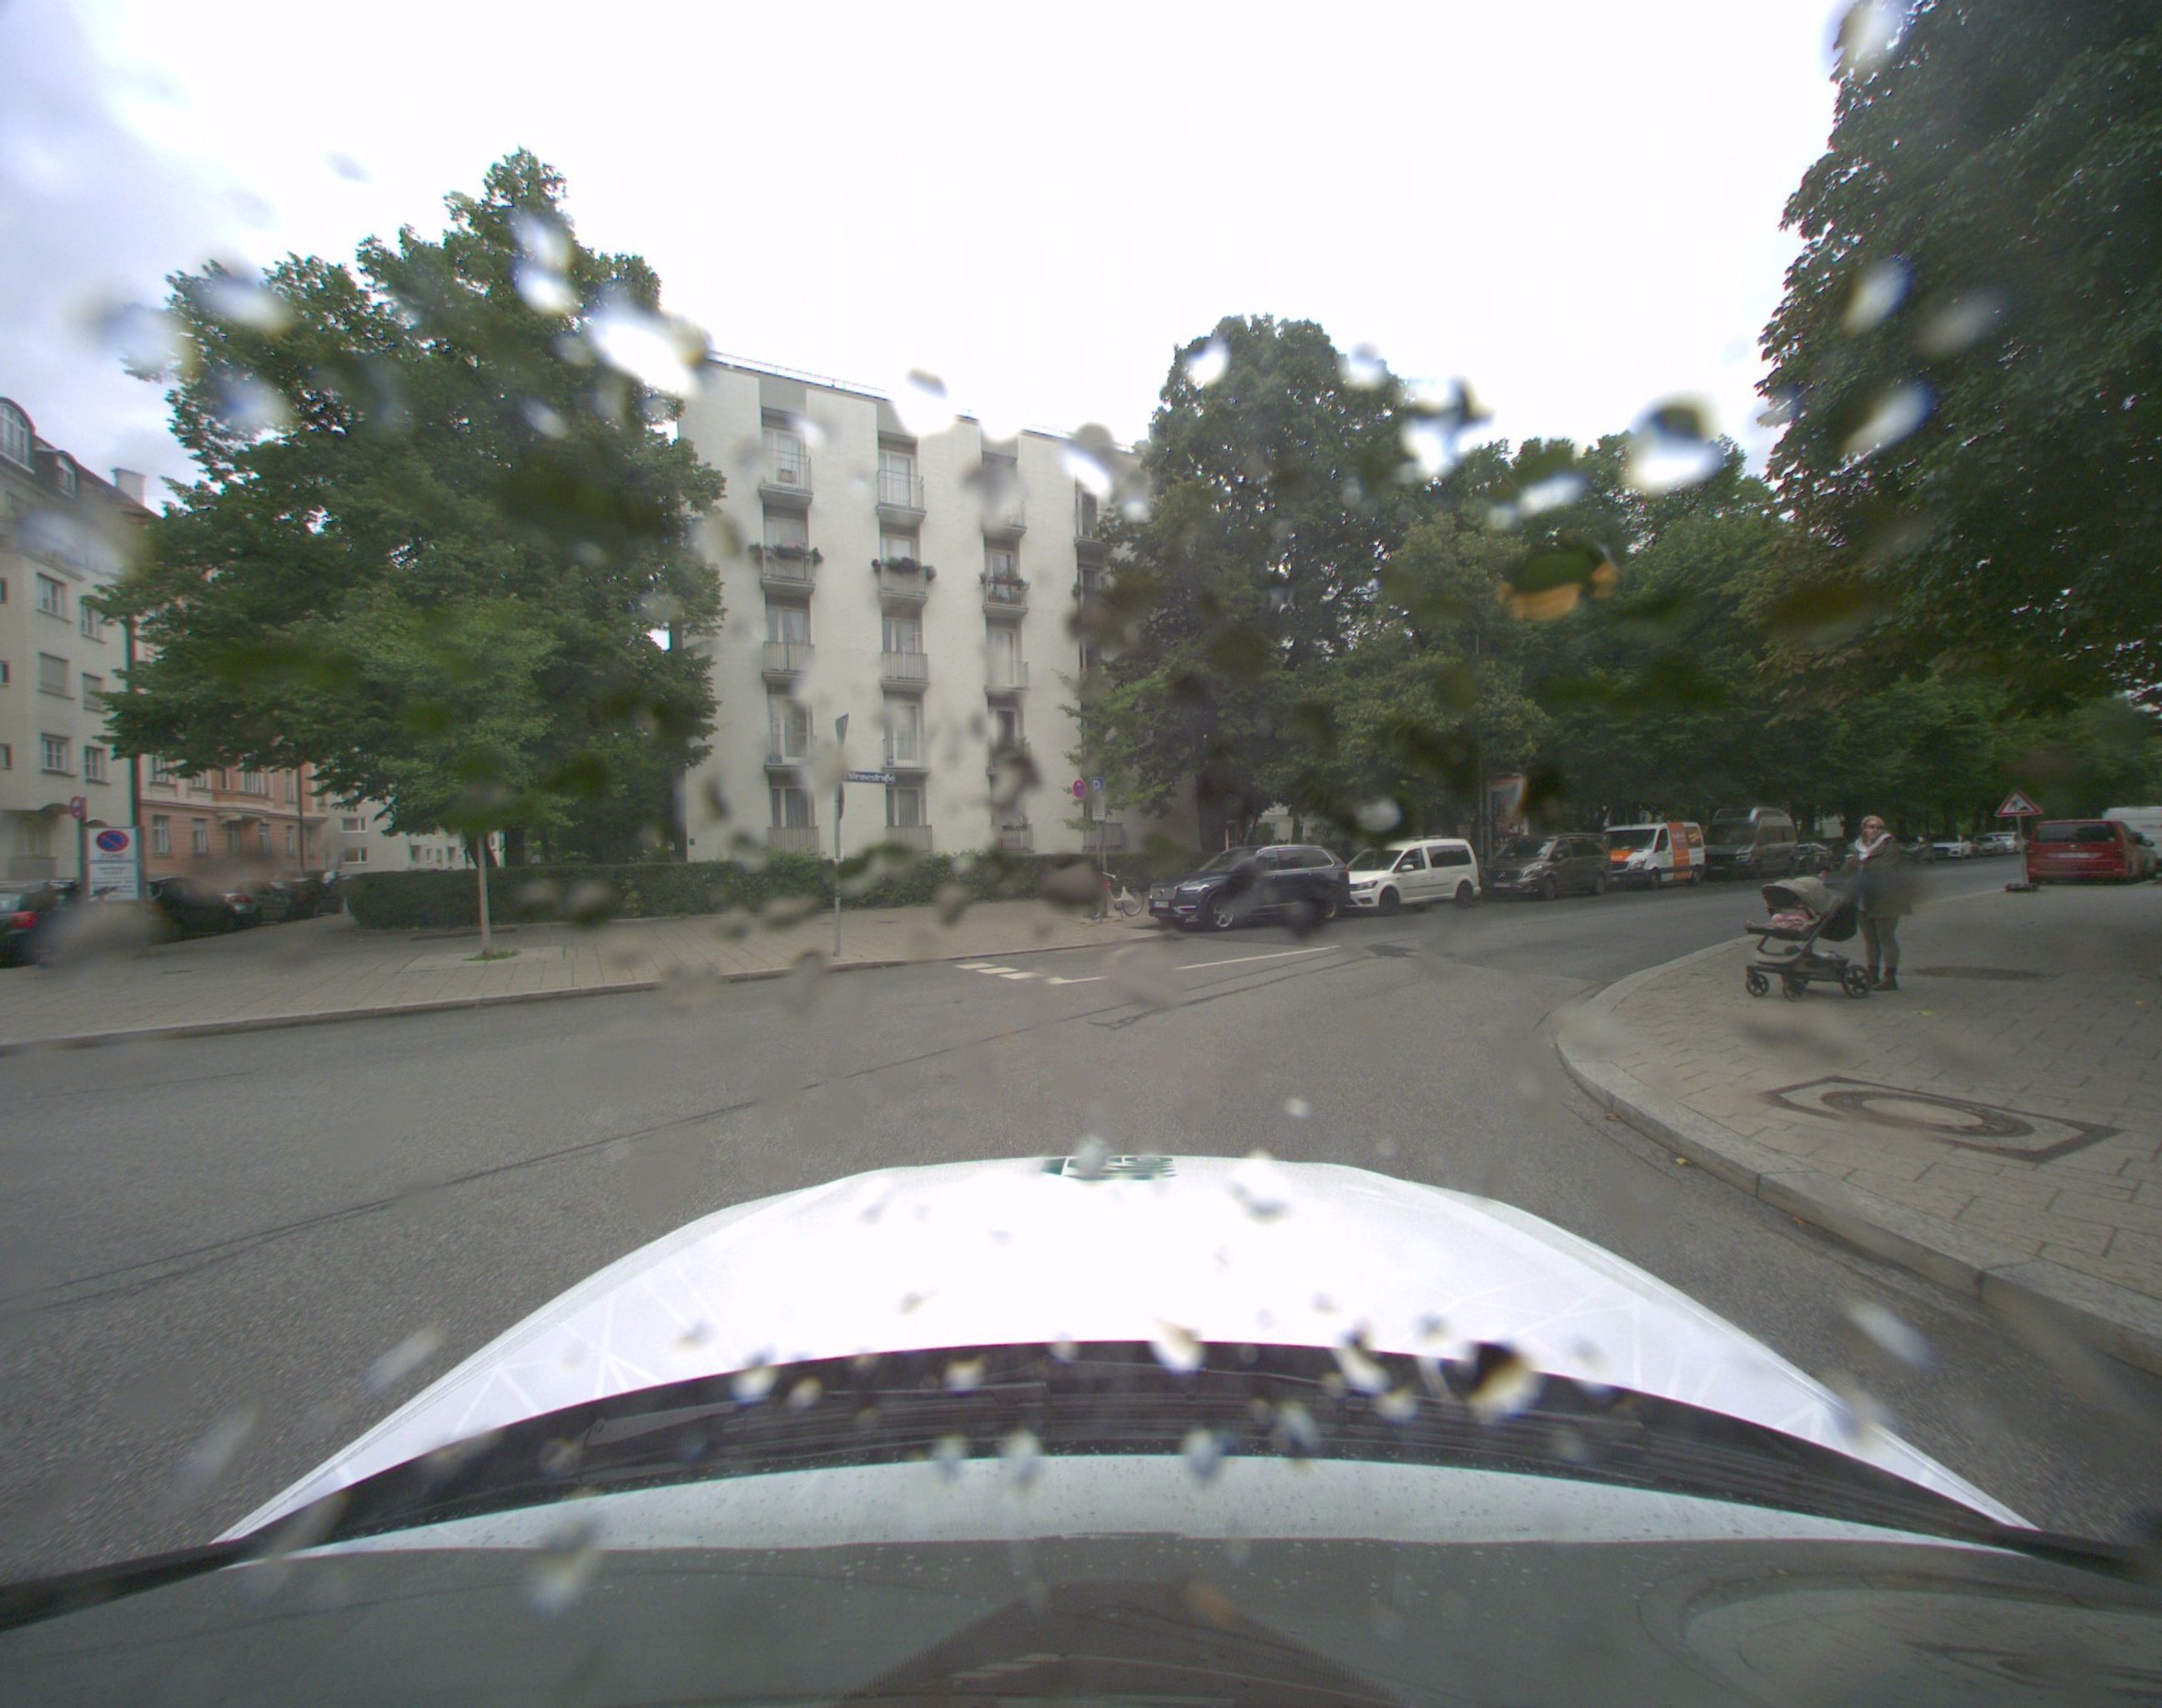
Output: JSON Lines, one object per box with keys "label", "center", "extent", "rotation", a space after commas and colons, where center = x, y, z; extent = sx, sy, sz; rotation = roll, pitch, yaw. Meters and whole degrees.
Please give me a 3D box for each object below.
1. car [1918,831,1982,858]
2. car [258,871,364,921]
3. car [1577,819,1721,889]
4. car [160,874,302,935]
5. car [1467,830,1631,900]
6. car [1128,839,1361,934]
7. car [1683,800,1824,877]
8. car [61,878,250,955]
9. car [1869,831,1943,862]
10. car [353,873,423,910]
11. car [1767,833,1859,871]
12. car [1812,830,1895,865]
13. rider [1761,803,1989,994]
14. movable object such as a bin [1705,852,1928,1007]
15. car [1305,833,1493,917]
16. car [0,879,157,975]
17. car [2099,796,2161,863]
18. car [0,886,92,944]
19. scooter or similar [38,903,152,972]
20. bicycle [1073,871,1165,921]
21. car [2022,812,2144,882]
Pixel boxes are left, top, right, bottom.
{"label": "car", "center": [53.741, -0.579, 50.341], "extent": [4.088, 1.571, 1.883], "rotation": [-2, 0, -31]}
{"label": "car", "center": [-27.053, 1.420, 28.763], "extent": [1.782, 1.518, 3.996], "rotation": [-2, 0, -30]}
{"label": "car", "center": [19.920, -0.052, 28.509], "extent": [5.211, 2.251, 2.097], "rotation": [-2, 0, -30]}
{"label": "car", "center": [-24.644, 1.389, 23.795], "extent": [1.782, 1.518, 3.996], "rotation": [-2, 0, -30]}
{"label": "car", "center": [14.086, 0.283, 24.446], "extent": [5.002, 1.859, 2.052], "rotation": [-2, 0, -30]}
{"label": "car", "center": [3.679, 0.627, 18.067], "extent": [4.922, 1.767, 2.052], "rotation": [-2, 0, -30]}
{"label": "car", "center": [27.713, -0.661, 33.488], "extent": [6.599, 2.922, 2.320], "rotation": [-2, 0, -30]}
{"label": "car", "center": [-22.226, 1.424, 19.781], "extent": [1.782, 1.518, 3.996], "rotation": [-2, 0, -30]}
{"label": "car", "center": [44.464, -0.415, 43.892], "extent": [4.088, 1.571, 1.883], "rotation": [-2, 0, -31]}
{"label": "car", "center": [-32.634, 1.717, 38.448], "extent": [1.782, 1.518, 3.996], "rotation": [-2, 0, -30]}
{"label": "car", "center": [32.995, -0.100, 36.701], "extent": [4.324, 1.571, 1.883], "rotation": [-2, 0, -31]}
{"label": "car", "center": [37.231, -0.306, 39.222], "extent": [4.088, 1.538, 1.883], "rotation": [-2, 0, -31]}
{"label": "rider", "center": [7.614, 0.403, 7.861], "extent": [1.138, 1.668, 1.079], "rotation": [-2, -2, -17]}
{"label": "movable object such as a bin", "center": [6.802, 0.663, 7.589], "extent": [1.086, 1.267, 1.075], "rotation": [-2, -2, -17]}
{"label": "car", "center": [8.235, 0.464, 20.974], "extent": [4.884, 1.894, 1.913], "rotation": [-2, 0, -31]}
{"label": "car", "center": [-19.495, 1.296, 15.168], "extent": [1.782, 1.518, 3.996], "rotation": [-2, 0, -30]}
{"label": "car", "center": [43.202, -1.014, 33.018], "extent": [5.270, 2.558, 2.026], "rotation": [-2, 0, -35]}
{"label": "car", "center": [-33.846, 1.899, 25.546], "extent": [2.004, 1.595, 4.175], "rotation": [-2, 0, -27]}
{"label": "scooter or similar", "center": [-16.625, 1.387, 13.760], "extent": [1.147, 1.025, 0.374], "rotation": [-2, 0, -39]}
{"label": "bicycle", "center": [0.905, 0.975, 19.241], "extent": [1.977, 1.051, 0.905], "rotation": [-2, 0, -29]}
{"label": "car", "center": [29.978, -0.244, 24.331], "extent": [4.466, 1.922, 2.025], "rotation": [-2, 0, -36]}
